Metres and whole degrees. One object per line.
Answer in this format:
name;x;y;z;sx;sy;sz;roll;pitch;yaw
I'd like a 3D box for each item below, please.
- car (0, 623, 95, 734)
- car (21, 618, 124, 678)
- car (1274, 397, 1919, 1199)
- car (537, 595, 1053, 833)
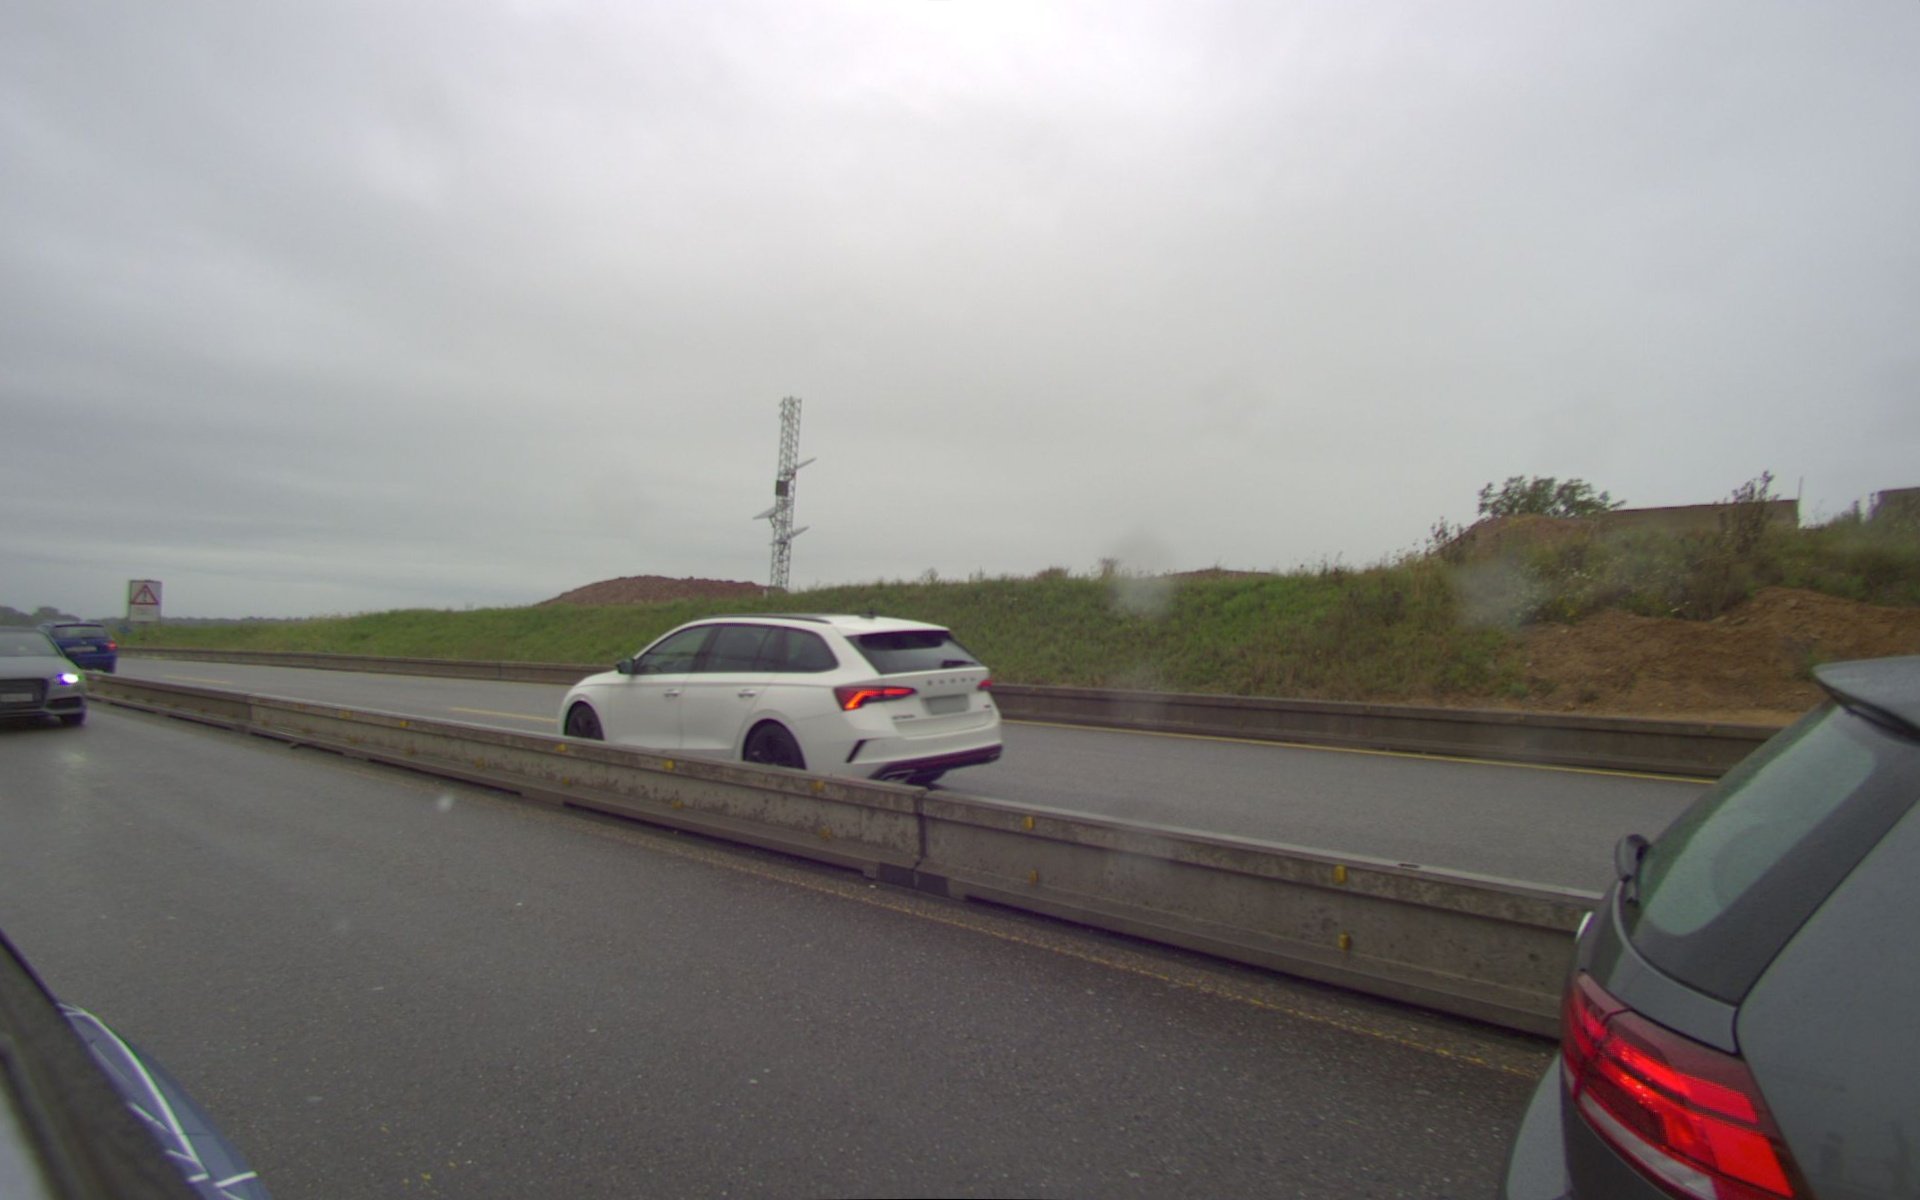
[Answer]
car;-13.970;1.047;14.433;4.084;1.393;1.782;0;-1;39
car;-24.642;1.271;28.072;3.827;1.514;1.632;-1;0;41
car;2.548;0.580;0.450;4.369;1.518;1.596;-1;-3;44
car;-1.614;0.754;8.614;4.630;1.514;1.726;-1;0;40
